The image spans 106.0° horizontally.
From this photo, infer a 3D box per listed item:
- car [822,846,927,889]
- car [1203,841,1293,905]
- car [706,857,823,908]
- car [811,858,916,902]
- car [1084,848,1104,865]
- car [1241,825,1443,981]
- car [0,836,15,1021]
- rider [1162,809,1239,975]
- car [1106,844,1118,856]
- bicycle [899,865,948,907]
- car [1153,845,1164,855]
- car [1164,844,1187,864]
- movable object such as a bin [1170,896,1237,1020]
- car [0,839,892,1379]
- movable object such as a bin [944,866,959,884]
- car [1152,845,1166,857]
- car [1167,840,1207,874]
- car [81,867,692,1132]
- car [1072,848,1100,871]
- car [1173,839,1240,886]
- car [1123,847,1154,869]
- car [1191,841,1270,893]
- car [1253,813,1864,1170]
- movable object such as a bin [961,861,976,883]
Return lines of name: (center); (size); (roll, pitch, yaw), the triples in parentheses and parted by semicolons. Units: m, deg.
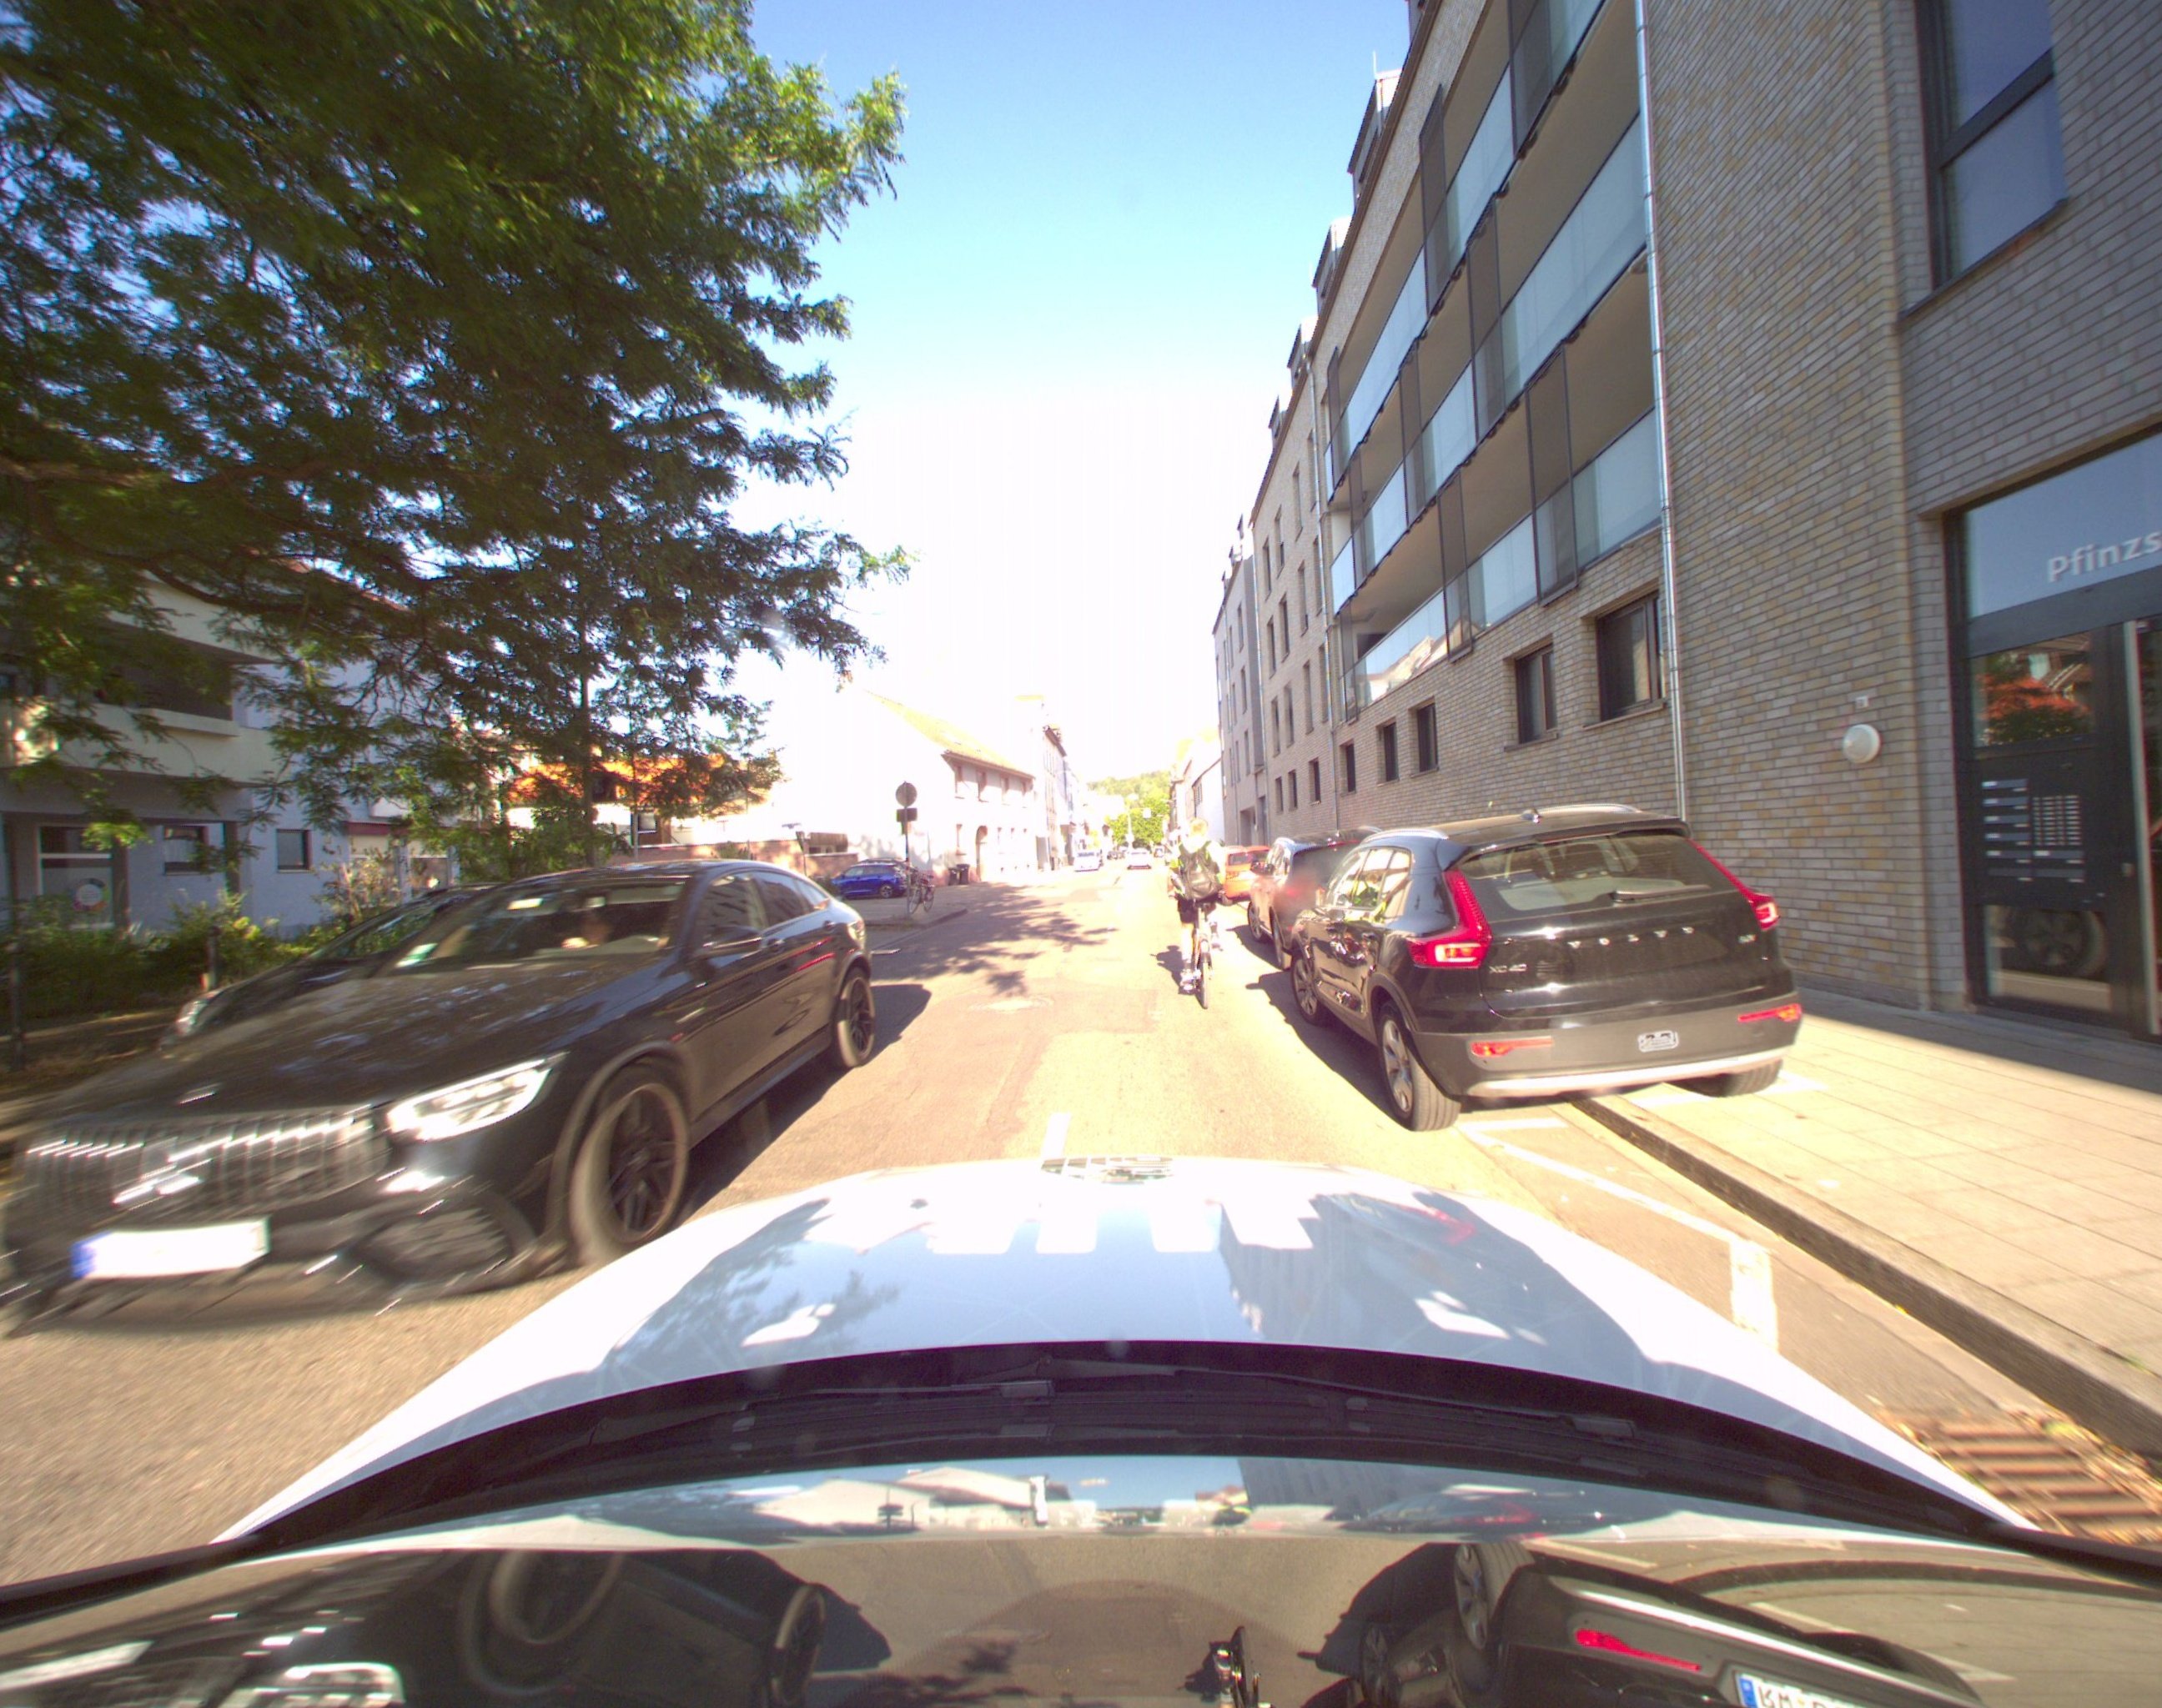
car: (-9.682, 0.614, 38.402); (4.342, 1.794, 1.991); (1, 3, 5)
car: (4.427, 0.459, 22.195); (1.705, 1.404, 4.077); (-6, 0, 3)
car: (-13.470, 1.189, 34.815); (3.969, 1.500, 2.003); (-7, 2, 4)
car: (-9.200, 1.086, 34.599); (3.750, 1.530, 2.003); (-4, 1, 4)
car: (1.310, 0.225, 79.372); (1.723, 1.499, 3.962); (-3, -1, 3)
car: (3.420, 0.519, 11.638); (1.879, 1.712, 4.784); (-3, 1, 8)
car: (-11.975, 0.823, 5.955); (1.837, 1.895, 4.905); (-2, 1, -1)
rider: (1.183, 0.365, 8.239); (0.651, 1.562, 1.083); (0, -1, 2)
car: (5.352, -0.688, 139.238); (1.986, 2.013, 4.003); (-2, 0, 2)
bicycle: (-4.190, 0.831, 21.815); (0.700, 1.003, 1.945); (-2, 0, 7)
car: (13.729, -0.672, 144.534); (1.809, 1.630, 4.008); (-4, 1, 7)
car: (7.902, -0.037, 68.530); (1.733, 1.492, 4.445); (-4, 0, 5)
movable object such as a bin: (1.186, 0.966, 8.110); (0.453, 1.033, 1.841); (0, -1, 2)
car: (-2.627, 0.785, 4.656); (1.932, 1.576, 4.320); (-3, 0, 1)
movable object such as a bin: (-6.518, 1.065, 40.888); (0.596, 0.872, 0.606); (-2, 0, 1)
car: (12.739, -0.491, 133.196); (2.002, 1.853, 4.004); (-2, 1, 3)
car: (5.813, 0.143, 45.197); (1.846, 1.636, 4.629); (-5, 0, 4)
car: (-5.237, 0.932, 7.016); (1.690, 1.492, 4.002); (-2, 0, 2)
car: (0.404, 0.389, 62.837); (1.986, 1.647, 5.223); (-2, 0, 1)
car: (4.888, 0.280, 32.303); (1.986, 1.653, 4.764); (-3, 1, 1)
car: (4.120, 0.261, 58.970); (1.986, 1.466, 4.002); (-3, 0, 2)
car: (4.888, 0.362, 27.183); (1.985, 1.505, 4.370); (-3, 1, 3)
car: (2.524, 0.597, 5.679); (1.809, 1.466, 4.272); (-3, 0, 2)
movable object such as a bin: (-5.776, 0.914, 41.795); (0.596, 1.094, 0.752); (-2, 0, 4)
